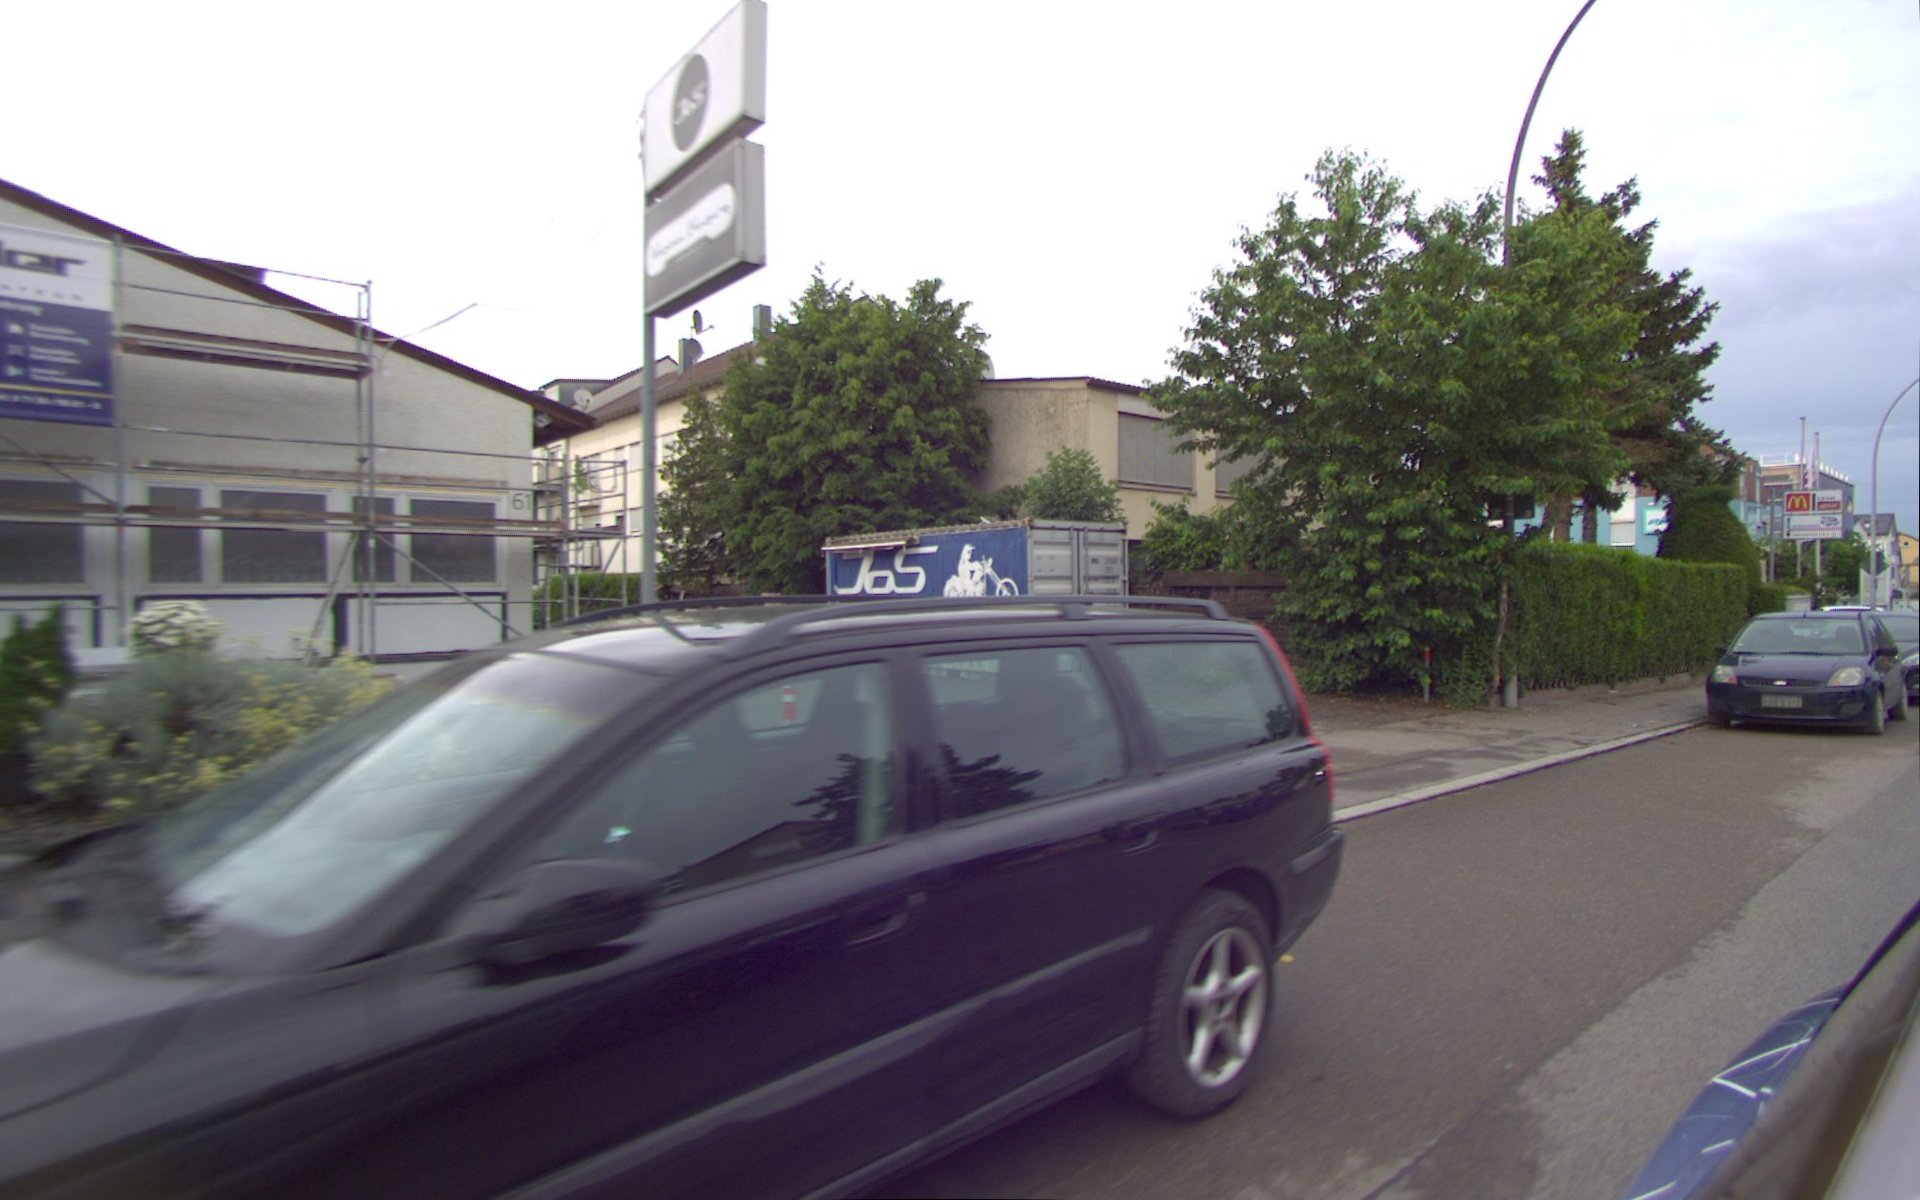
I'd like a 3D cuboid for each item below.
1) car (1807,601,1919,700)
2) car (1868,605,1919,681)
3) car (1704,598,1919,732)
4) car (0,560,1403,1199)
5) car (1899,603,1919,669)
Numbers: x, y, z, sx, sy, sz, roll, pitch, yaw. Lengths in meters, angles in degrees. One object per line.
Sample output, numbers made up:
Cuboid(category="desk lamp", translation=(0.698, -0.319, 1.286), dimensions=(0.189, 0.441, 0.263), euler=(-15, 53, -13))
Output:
Cuboid(category="car", translation=(15.391, 0.765, 16.655), dimensions=(3.489, 1.483, 1.675), euler=(0, -1, -41))
Cuboid(category="car", translation=(19.293, 0.797, 19.906), dimensions=(3.489, 1.414, 1.675), euler=(0, -1, -41))
Cuboid(category="car", translation=(11.105, 0.735, 13.038), dimensions=(3.625, 1.483, 1.675), euler=(0, -1, -41))
Cuboid(category="car", translation=(-0.703, 0.665, 2.662), dimensions=(4.407, 1.458, 1.764), euler=(0, 1, -42))
Cuboid(category="car", translation=(23.233, 0.801, 23.518), dimensions=(3.489, 1.483, 1.675), euler=(0, -1, -41))
